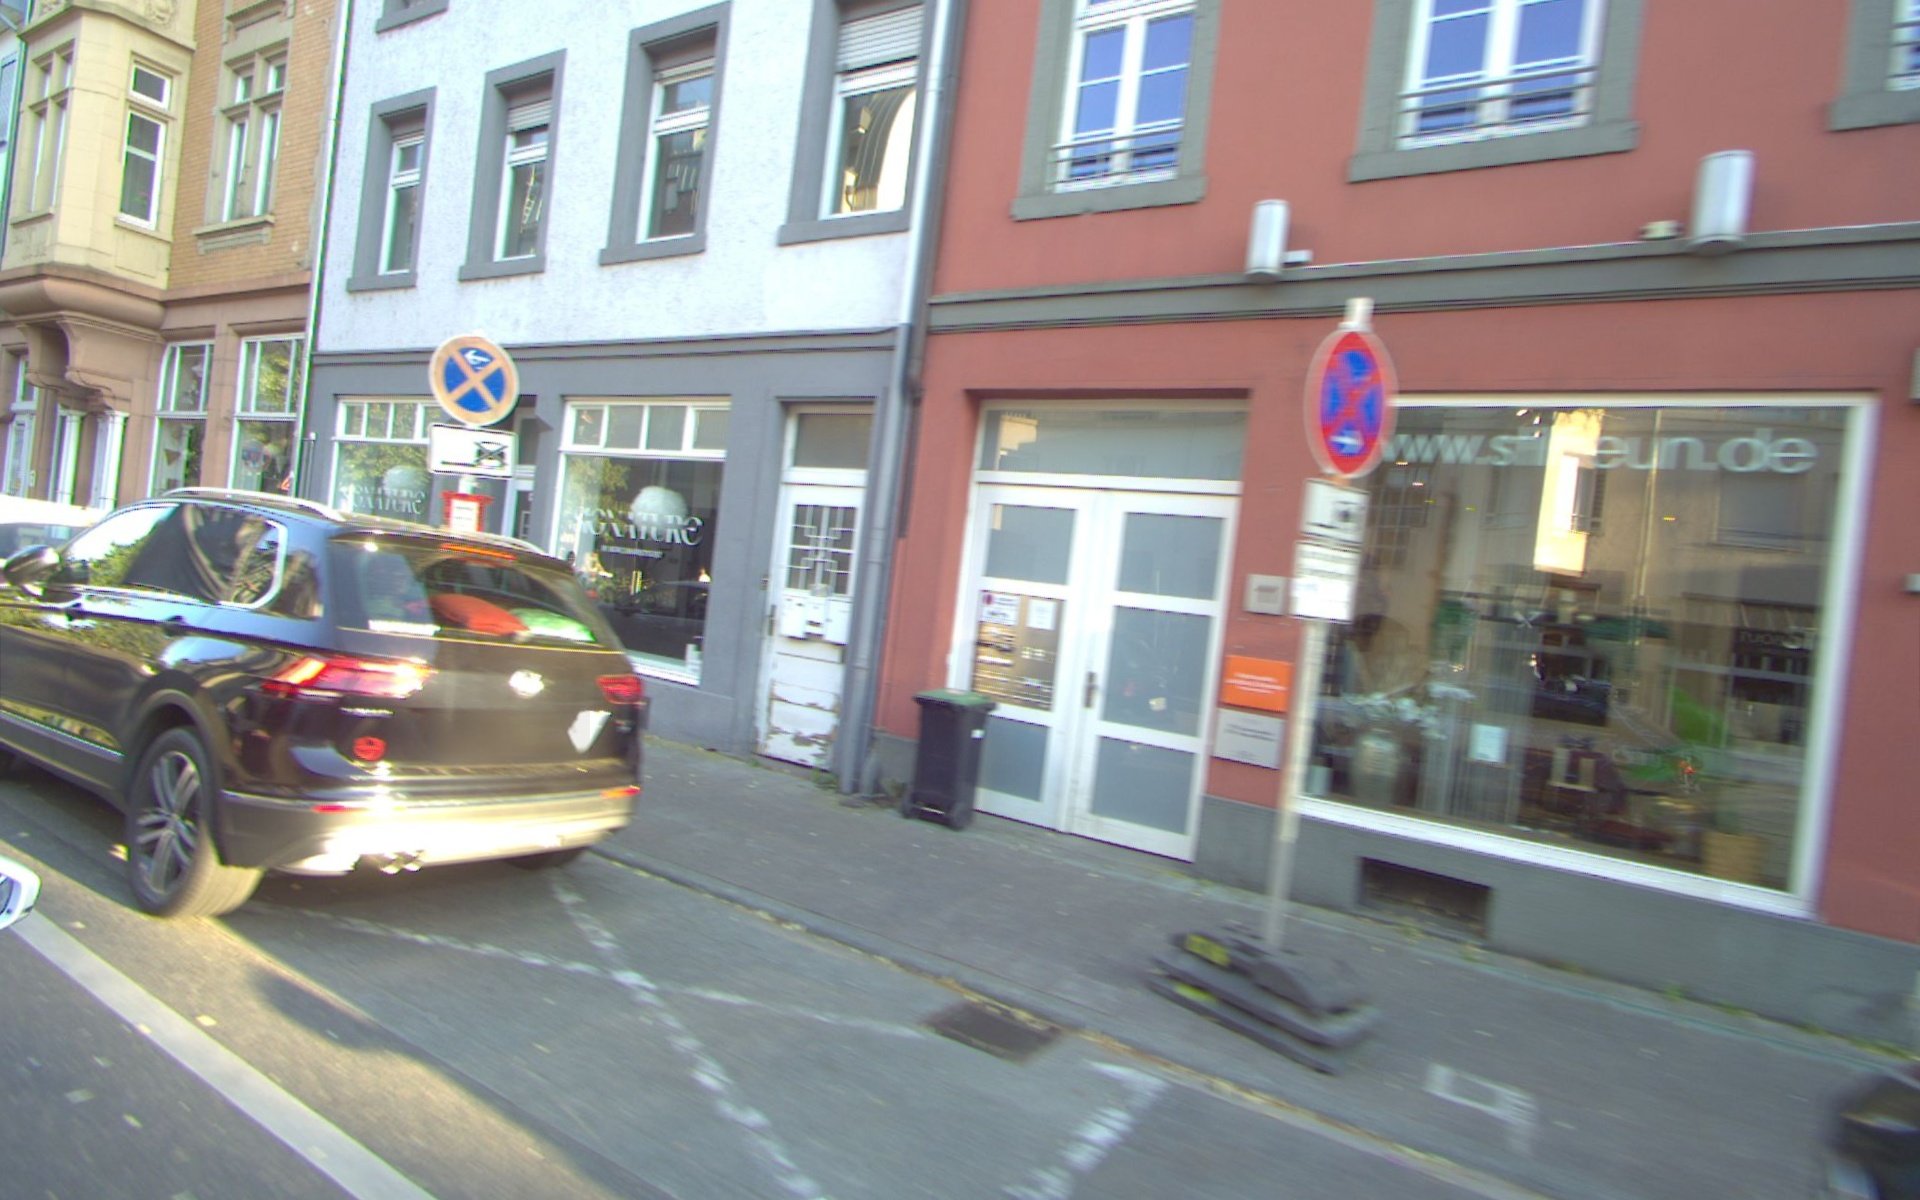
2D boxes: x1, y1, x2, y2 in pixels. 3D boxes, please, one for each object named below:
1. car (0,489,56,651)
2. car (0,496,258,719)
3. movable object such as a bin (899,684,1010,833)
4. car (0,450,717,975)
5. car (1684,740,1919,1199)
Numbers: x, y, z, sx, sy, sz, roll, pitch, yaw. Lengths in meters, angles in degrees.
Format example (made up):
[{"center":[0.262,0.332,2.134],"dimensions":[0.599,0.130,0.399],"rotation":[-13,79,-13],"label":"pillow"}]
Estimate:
[{"center":[-10.581,-0.475,9.926],"dimensions":[3.213,1.501,1.589],"rotation":[6,-2,33],"label":"car"},{"center":[-7.297,-0.067,7.747],"dimensions":[3.740,1.394,1.669],"rotation":[6,-2,32],"label":"car"},{"center":[-0.034,1.106,7.173],"dimensions":[0.477,0.949,0.554],"rotation":[7,0,30],"label":"movable object such as a bin"},{"center":[-3.477,0.283,5.154],"dimensions":[4.136,1.687,1.815],"rotation":[6,-2,32],"label":"car"},{"center":[3.559,1.270,1.117],"dimensions":[4.236,1.501,1.765],"rotation":[6,-2,32],"label":"car"}]
